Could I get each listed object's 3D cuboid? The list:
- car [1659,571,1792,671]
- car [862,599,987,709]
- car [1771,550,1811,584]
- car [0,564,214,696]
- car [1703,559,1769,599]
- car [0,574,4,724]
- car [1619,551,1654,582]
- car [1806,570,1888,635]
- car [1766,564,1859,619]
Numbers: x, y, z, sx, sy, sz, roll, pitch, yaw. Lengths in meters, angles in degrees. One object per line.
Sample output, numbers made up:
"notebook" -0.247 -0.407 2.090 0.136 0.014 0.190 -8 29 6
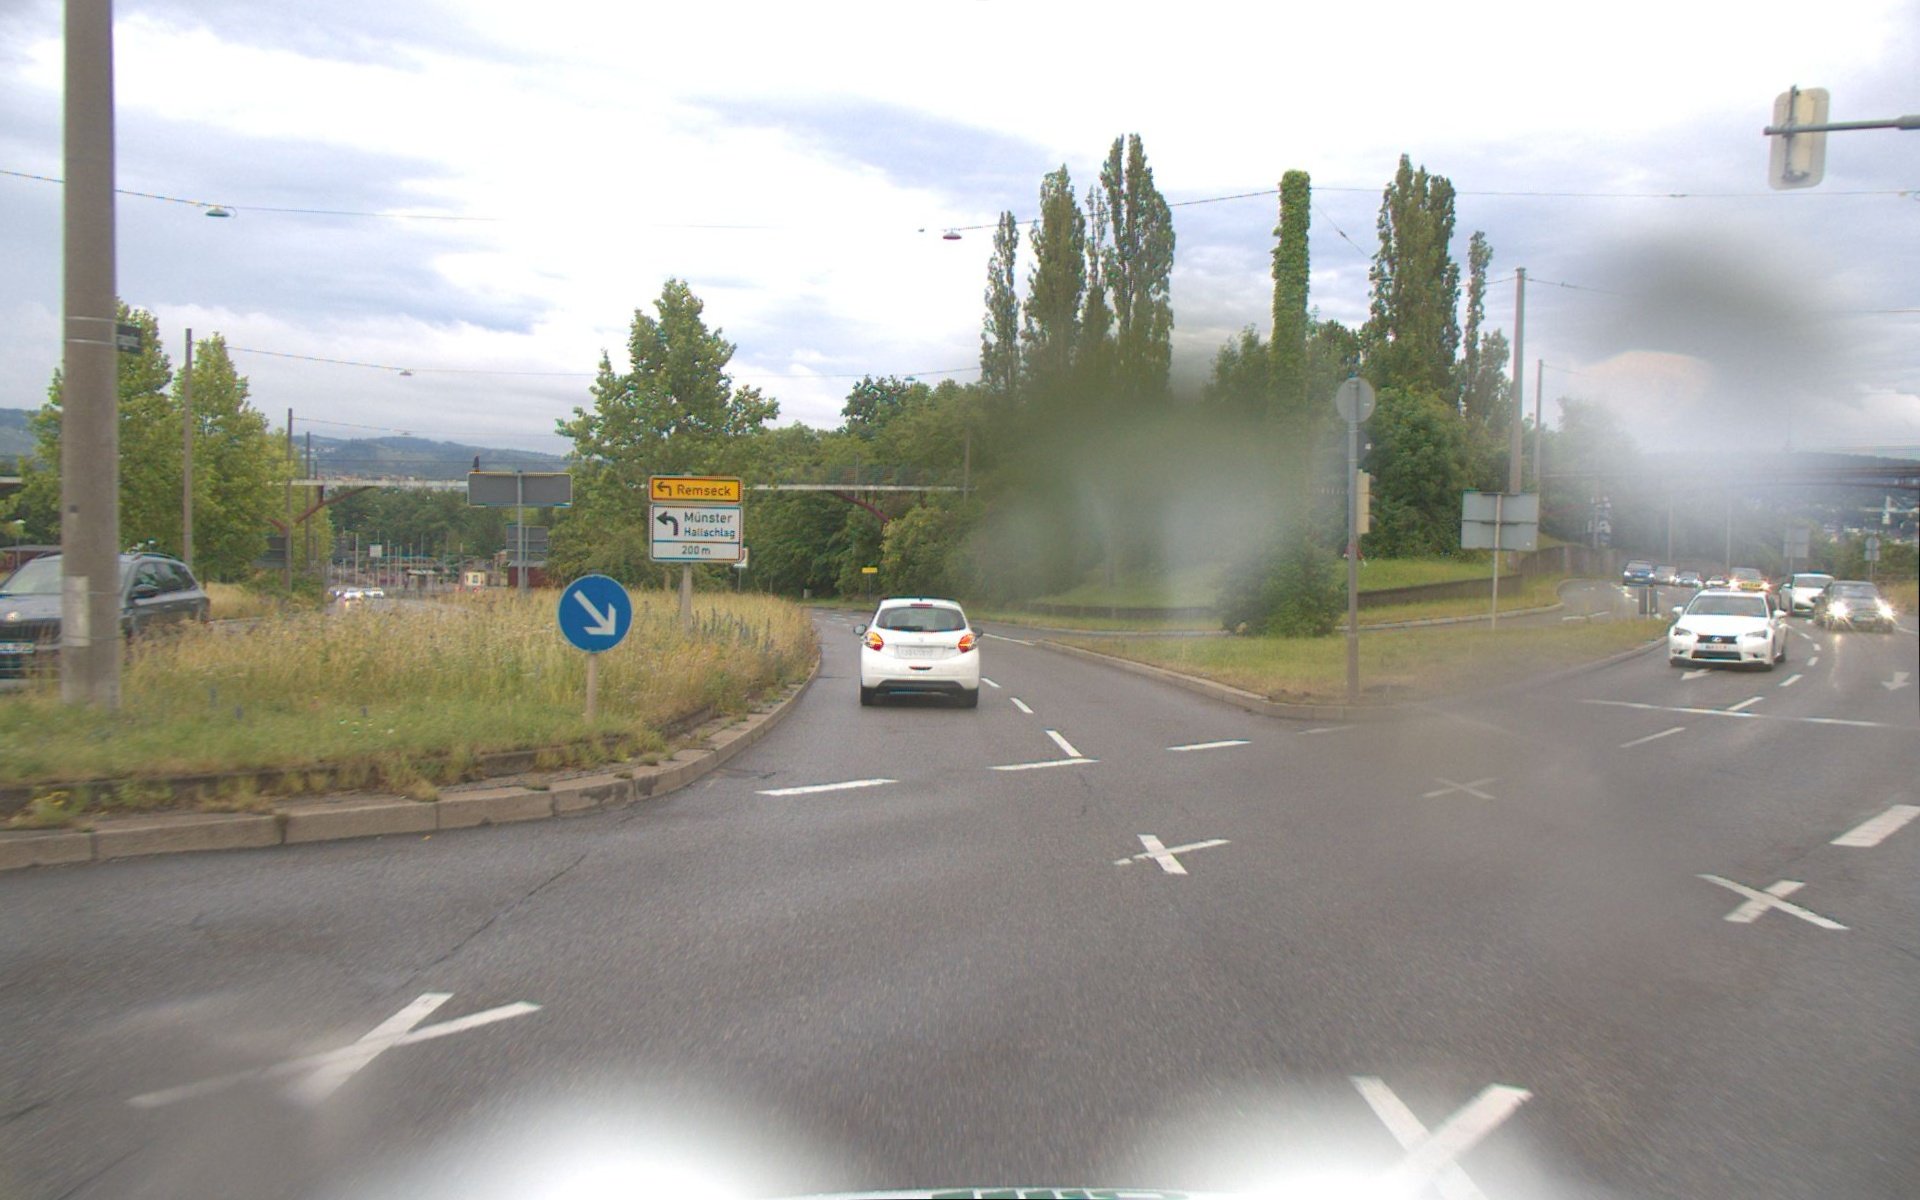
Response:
"car" 15.104 0.344 32.542 1.957 1.645 3.993 4 4 30
"car" -0.530 0.737 24.074 1.674 1.465 3.689 0 0 -2
"car" 56.622 -2.270 112.750 2.032 2.119 4.372 3 4 23
"car" -10.775 0.286 20.005 1.858 1.347 3.998 1 2 -4
"car" 36.141 -1.010 77.091 1.951 1.645 4.377 3 4 15
"car" -9.597 0.427 13.421 1.704 1.397 3.994 1 -1 -7
"car" 40.582 -2.027 99.175 1.840 1.682 4.125 3 4 23
"car" 26.574 0.028 49.492 1.957 1.645 4.364 4 4 30
"car" 29.995 -0.327 58.339 1.951 1.645 4.377 3 4 15
